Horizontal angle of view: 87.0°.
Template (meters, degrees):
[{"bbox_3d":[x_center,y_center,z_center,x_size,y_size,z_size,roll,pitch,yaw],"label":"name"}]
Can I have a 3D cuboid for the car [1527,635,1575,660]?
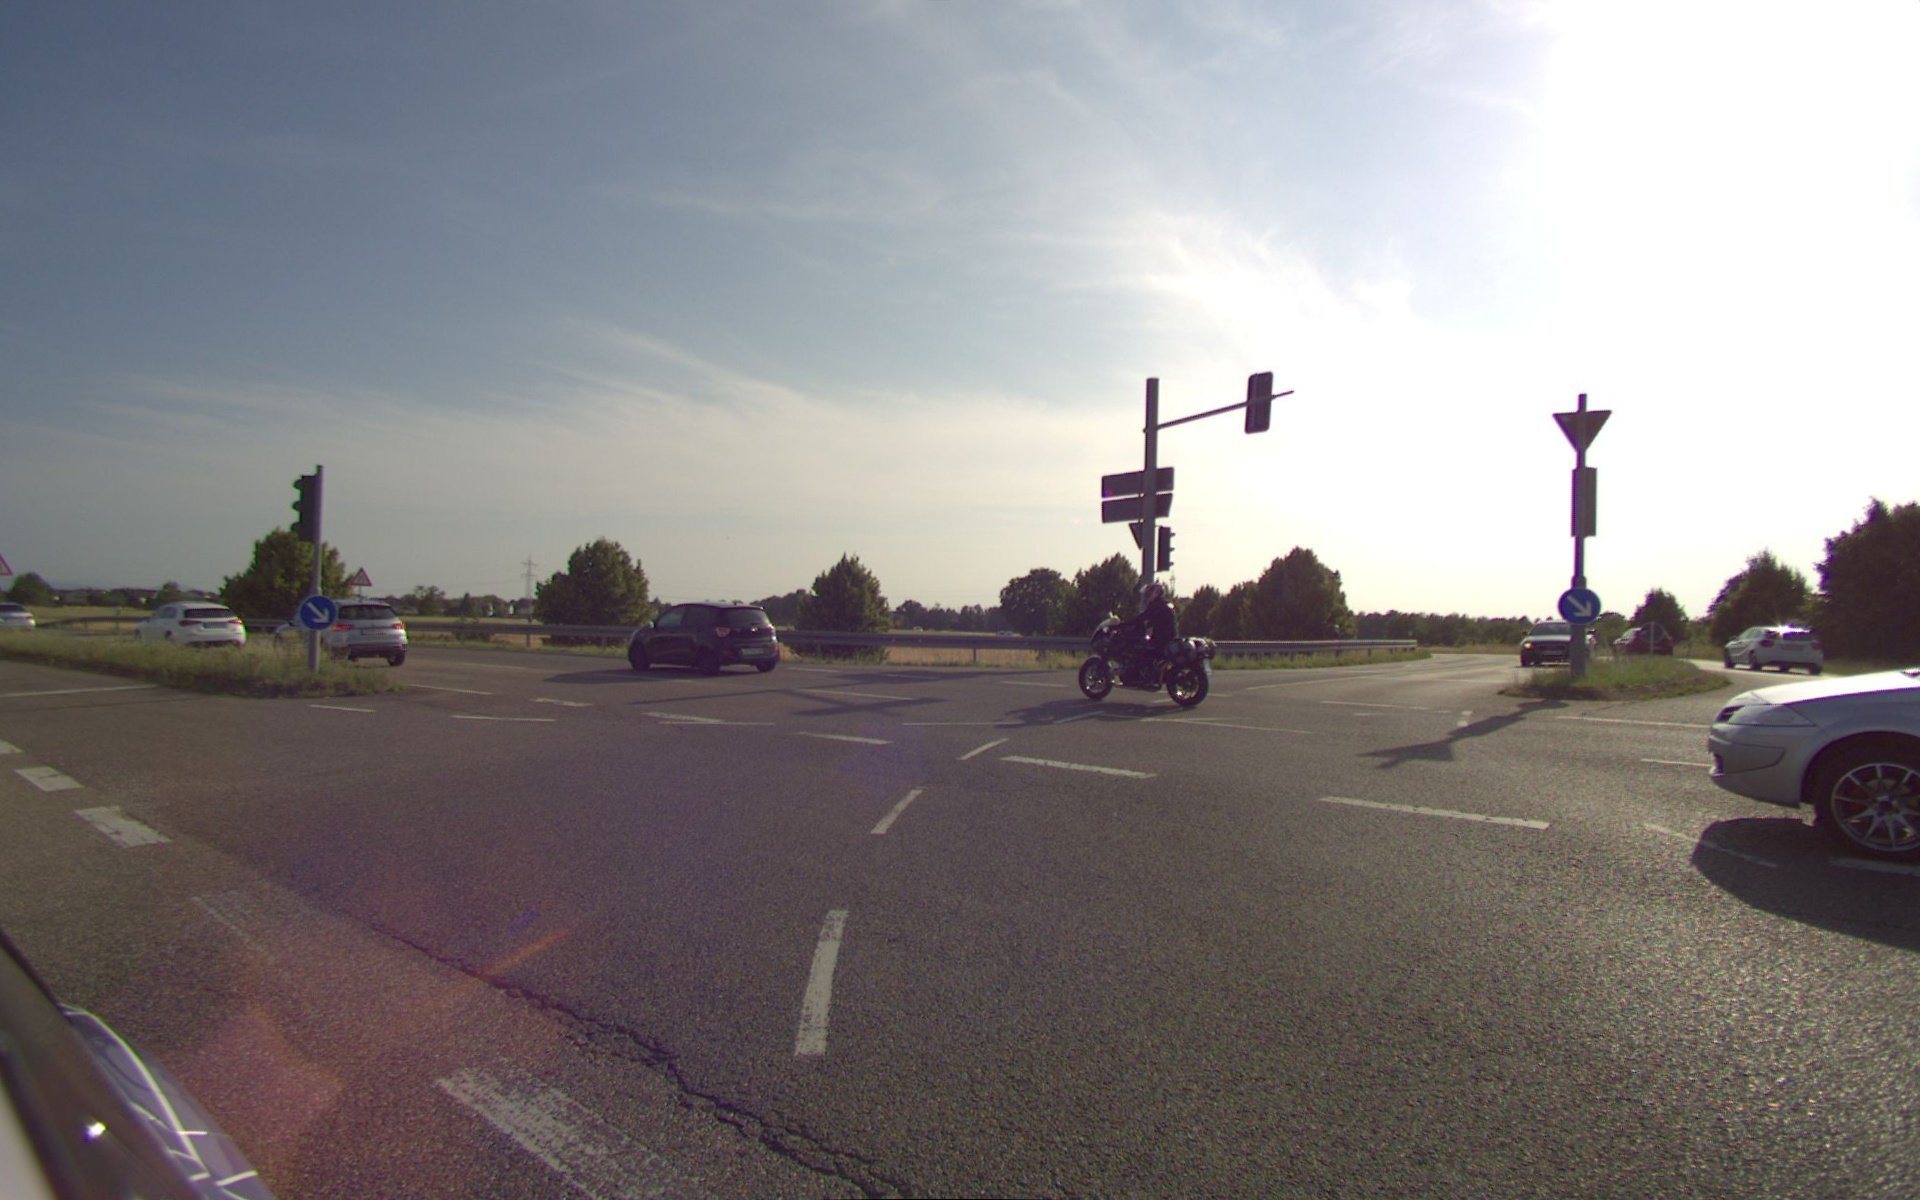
[{"bbox_3d":[36.613,2.913,62.734,1.644,1.364,3.978,0,-1,17],"label":"car"}]

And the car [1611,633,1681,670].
[{"bbox_3d":[32.419,2.394,47.949,1.914,1.599,4.100,0,-1,22],"label":"car"}]

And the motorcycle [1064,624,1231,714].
[{"bbox_3d":[2.576,0.914,14.146,2.278,1.147,0.693,-1,-1,43],"label":"motorcycle"}]

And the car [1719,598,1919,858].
[{"bbox_3d":[6.622,0.668,5.029,4.451,1.363,1.676,-1,-1,41],"label":"car"}]

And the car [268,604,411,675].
[{"bbox_3d":[-14.522,0.865,23.598,4.089,1.535,1.668,-1,-1,40],"label":"car"}]

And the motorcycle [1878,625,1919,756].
[{"bbox_3d":[9.368,0.809,8.790,0.699,1.167,2.024,1,-1,-44],"label":"motorcycle"}]

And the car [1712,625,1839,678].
[{"bbox_3d":[26.617,1.630,33.226,1.939,1.546,4.416,0,-1,21],"label":"car"}]

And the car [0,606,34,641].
[{"bbox_3d":[-41.109,0.964,42.834,4.691,1.446,1.910,0,-1,36],"label":"car"}]

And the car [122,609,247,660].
[{"bbox_3d":[-22.991,0.983,29.967,4.385,1.424,1.715,-1,-1,35],"label":"car"}]

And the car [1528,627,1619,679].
[{"bbox_3d":[18.849,1.567,31.031,1.957,1.409,3.949,-1,-1,38],"label":"car"}]

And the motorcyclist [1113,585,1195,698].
[{"bbox_3d":[2.704,0.562,14.103,0.896,1.514,0.690,-1,-2,42],"label":"motorcyclist"}]

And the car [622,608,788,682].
[{"bbox_3d":[-5.394,0.883,21.223,3.519,1.423,1.668,-1,-1,40],"label":"car"}]

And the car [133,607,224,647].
[{"bbox_3d":[-30.506,1.029,39.466,4.012,1.478,1.646,0,-1,34],"label":"car"}]
